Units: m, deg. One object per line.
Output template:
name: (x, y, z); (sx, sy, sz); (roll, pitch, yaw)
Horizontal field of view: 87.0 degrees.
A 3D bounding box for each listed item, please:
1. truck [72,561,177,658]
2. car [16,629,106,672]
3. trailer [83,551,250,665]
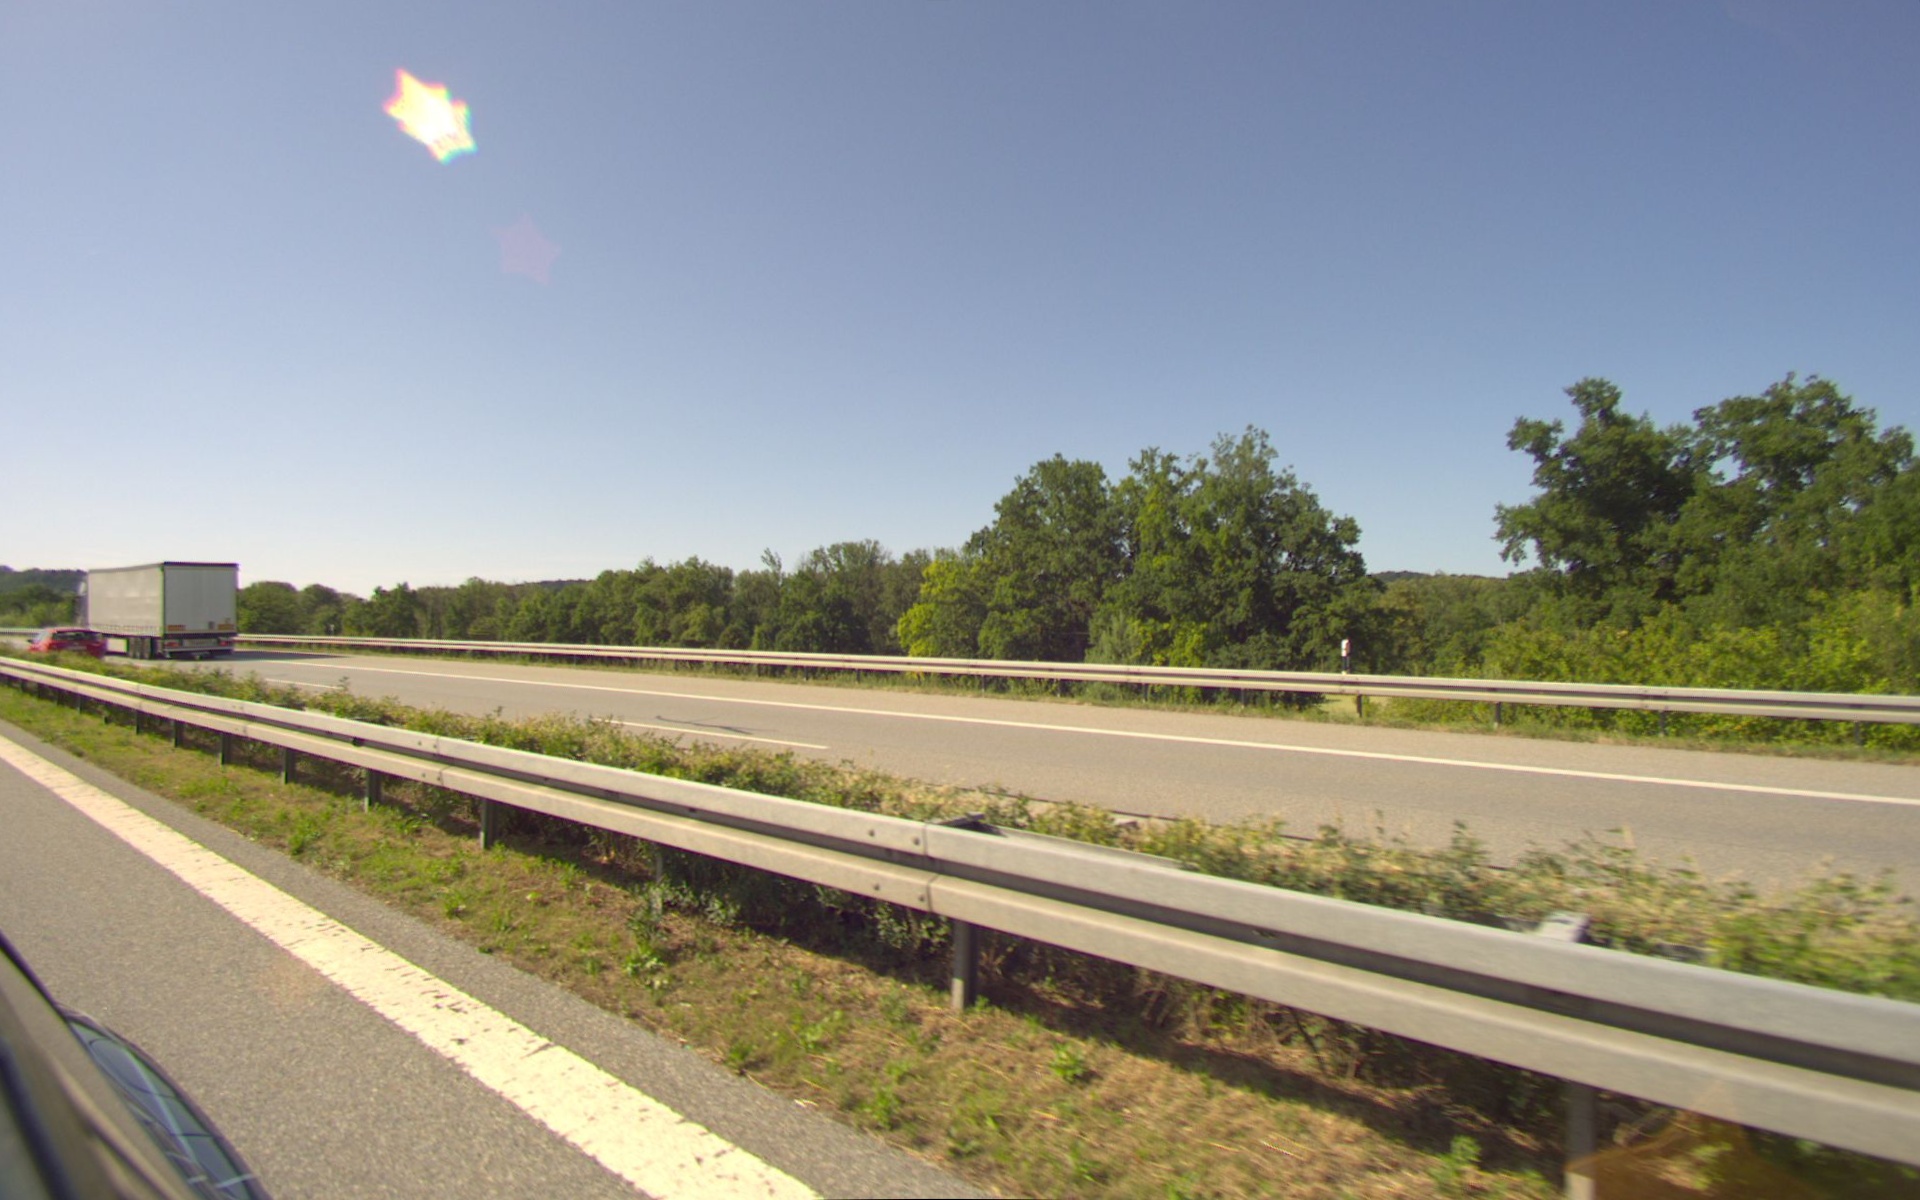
truck: (-41.022, 0.467, 49.670); (5.107, 4.488, 3.064); (-1, -1, 40)
car: (-31.794, 1.750, 35.762); (3.995, 1.413, 1.749); (-1, -2, 39)
trailer: (-35.811, 0.427, 45.326); (13.735, 4.488, 3.064); (-1, -1, 40)
